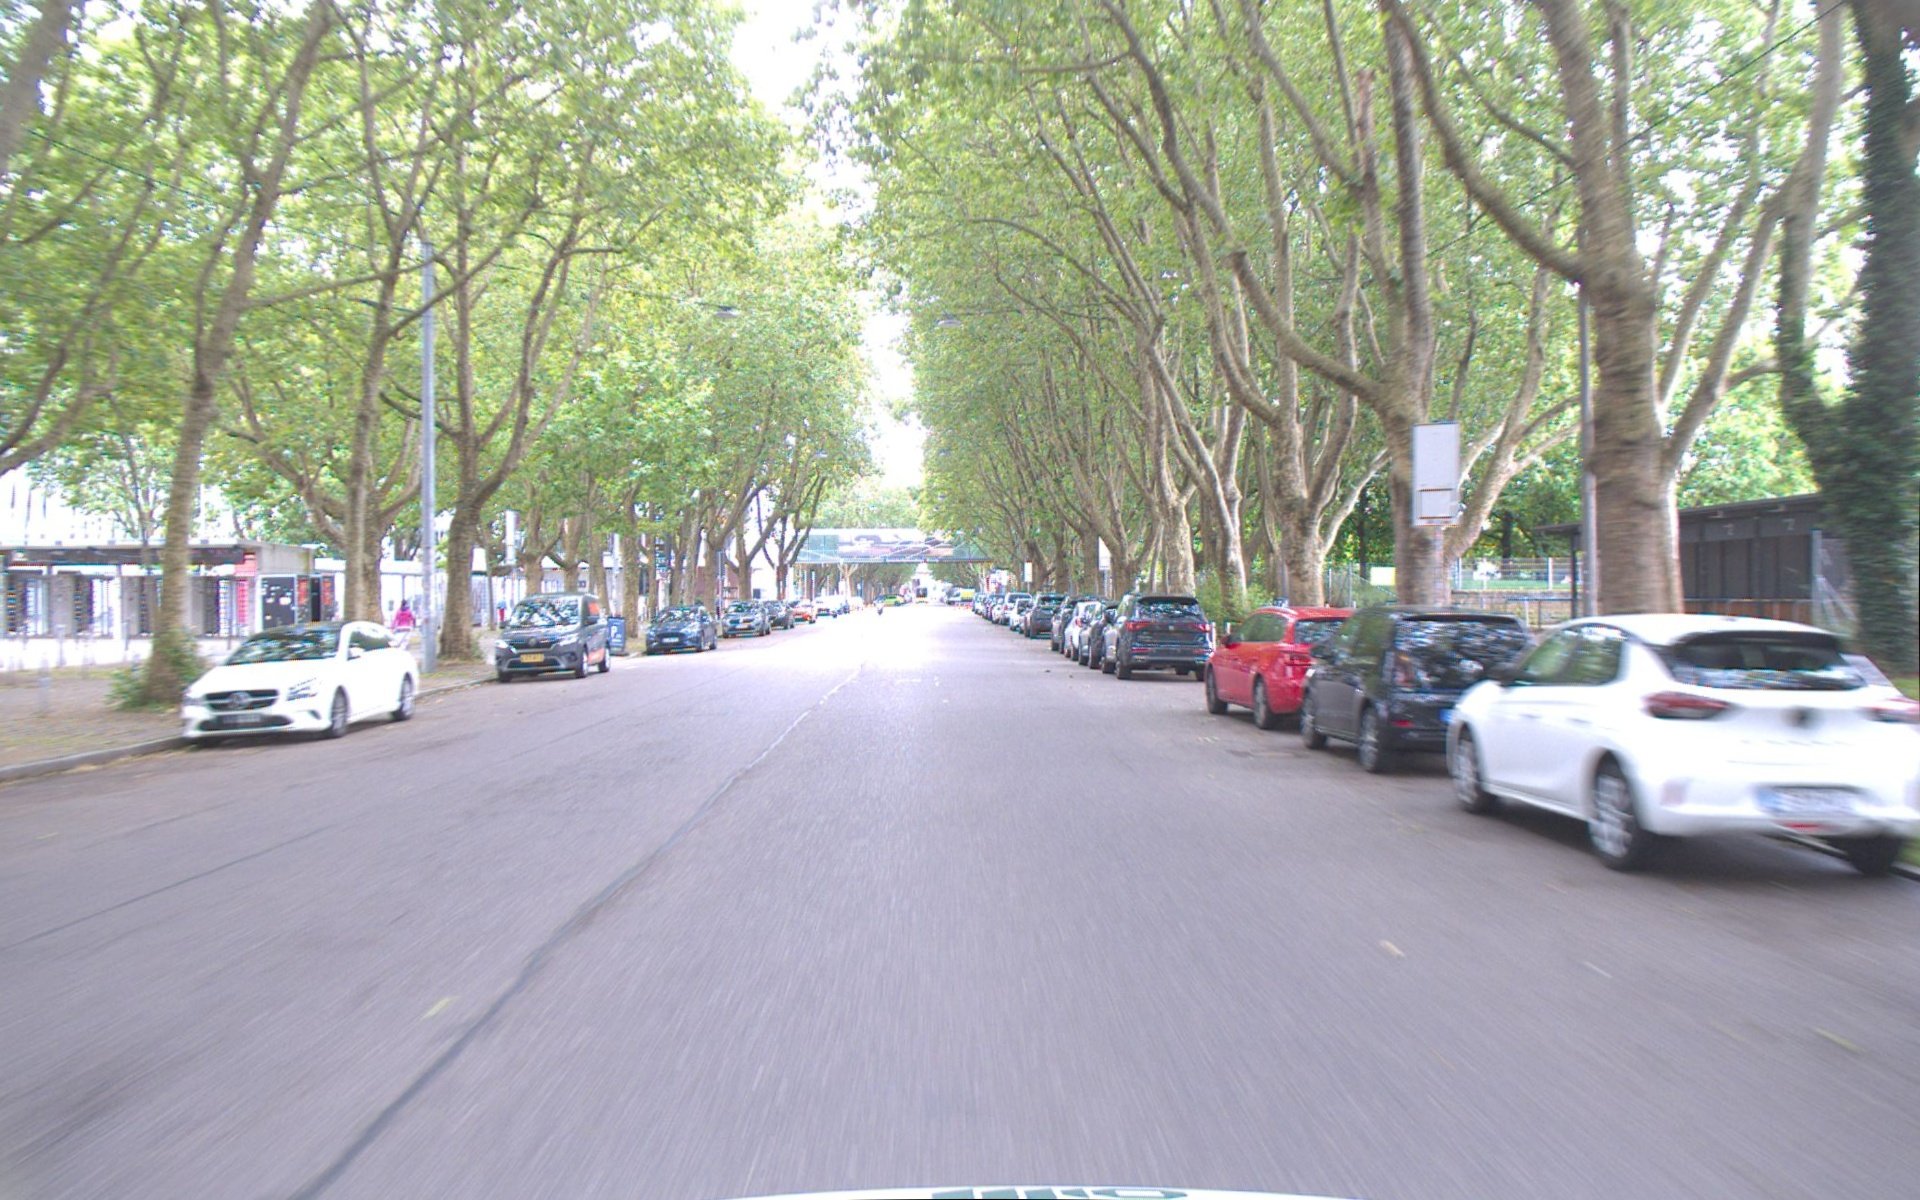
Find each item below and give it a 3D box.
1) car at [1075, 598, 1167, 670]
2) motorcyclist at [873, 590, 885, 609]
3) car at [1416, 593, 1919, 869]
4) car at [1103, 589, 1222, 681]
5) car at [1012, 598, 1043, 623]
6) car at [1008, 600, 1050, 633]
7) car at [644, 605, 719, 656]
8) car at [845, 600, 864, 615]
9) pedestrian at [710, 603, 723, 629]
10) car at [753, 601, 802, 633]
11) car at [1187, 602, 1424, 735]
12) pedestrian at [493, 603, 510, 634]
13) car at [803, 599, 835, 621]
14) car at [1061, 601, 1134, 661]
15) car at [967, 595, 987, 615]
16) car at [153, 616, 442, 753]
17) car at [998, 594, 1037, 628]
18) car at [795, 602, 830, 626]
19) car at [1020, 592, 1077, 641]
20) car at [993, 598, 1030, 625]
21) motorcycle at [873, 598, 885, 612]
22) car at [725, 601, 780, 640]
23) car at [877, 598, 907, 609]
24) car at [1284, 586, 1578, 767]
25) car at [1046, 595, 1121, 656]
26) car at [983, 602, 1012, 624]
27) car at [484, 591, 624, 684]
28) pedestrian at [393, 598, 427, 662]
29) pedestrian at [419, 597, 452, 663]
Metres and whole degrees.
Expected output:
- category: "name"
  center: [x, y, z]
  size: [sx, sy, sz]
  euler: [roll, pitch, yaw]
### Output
- category: "car"
  center: [3.653, 0.740, 38.174]
  size: [1.634, 1.535, 4.353]
  euler: [1, 0, -1]
- category: "motorcyclist"
  center: [-6.300, -0.052, 128.300]
  size: [0.853, 1.506, 1.264]
  euler: [-1, 0, -4]
- category: "car"
  center: [4.527, 0.699, 10.990]
  size: [1.700, 1.463, 4.121]
  euler: [-1, 0, -3]
- category: "car"
  center: [3.920, 0.649, 32.680]
  size: [1.720, 1.648, 4.438]
  euler: [1, 0, -1]
- category: "car"
  center: [4.535, 0.694, 111.143]
  size: [1.766, 1.583, 3.999]
  euler: [-1, 0, -2]
- category: "car"
  center: [3.120, 0.721, 74.990]
  size: [1.673, 1.452, 3.888]
  euler: [1, 0, -1]
- category: "car"
  center: [-8.839, 0.938, 52.817]
  size: [1.689, 1.512, 4.573]
  euler: [-1, 0, -1]
- category: "car"
  center: [-11.671, 0.820, 182.264]
  size: [1.955, 1.629, 3.995]
  euler: [0, 0, -6]
- category: "pedestrian"
  center: [-15.474, 1.031, 105.098]
  size: [0.580, 1.648, 0.792]
  euler: [0, 0, 8]
- category: "car"
  center: [-9.070, 0.837, 82.384]
  size: [1.789, 1.491, 4.628]
  euler: [-2, 0, 1]
- category: "car"
  center: [4.253, 0.786, 21.098]
  size: [1.683, 1.464, 4.624]
  euler: [1, 0, -5]
- category: "pedestrian"
  center: [-23.576, 0.939, 85.058]
  size: [0.654, 1.571, 0.660]
  euler: [0, 0, 0]
- category: "car"
  center: [-10.593, 0.742, 124.747]
  size: [2.031, 1.590, 4.755]
  euler: [-1, 0, -1]
- category: "car"
  center: [3.584, 0.770, 43.478]
  size: [1.583, 1.466, 3.710]
  euler: [1, 0, 0]
- category: "car"
  center: [1.581, 0.482, 158.133]
  size: [1.810, 1.814, 5.210]
  euler: [1, 0, -1]
- category: "car"
  center: [-8.513, 1.015, 21.772]
  size: [1.865, 1.427, 4.750]
  euler: [-4, 0, -1]
- category: "car"
  center: [3.053, 0.583, 88.605]
  size: [1.864, 1.769, 4.505]
  euler: [0, 0, -1]
- category: "car"
  center: [-8.934, 0.846, 100.433]
  size: [1.771, 1.378, 3.999]
  euler: [-1, 0, -1]
- category: "car"
  center: [3.292, 0.596, 62.141]
  size: [1.673, 1.728, 4.628]
  euler: [1, 0, -2]
- category: "car"
  center: [2.894, 0.641, 94.276]
  size: [1.839, 1.452, 4.584]
  euler: [0, 0, -2]
- category: "motorcycle"
  center: [-6.300, 0.365, 128.257]
  size: [0.856, 1.098, 3.050]
  euler: [-1, 0, -4]
- category: "car"
  center: [-8.880, 0.847, 70.967]
  size: [1.840, 1.553, 4.150]
  euler: [-2, 0, -1]
- category: "car"
  center: [-10.656, 0.591, 258.119]
  size: [4.604, 1.612, 1.864]
  euler: [-1, -1, 0]
- category: "car"
  center: [4.460, 0.660, 16.296]
  size: [1.695, 1.496, 4.080]
  euler: [2, 0, 0]
- category: "car"
  center: [3.615, 0.729, 49.185]
  size: [1.742, 1.702, 4.636]
  euler: [0, 0, -2]
- category: "car"
  center: [2.530, 0.838, 112.290]
  size: [1.839, 1.452, 4.479]
  euler: [0, 0, 0]
- category: "car"
  center: [-8.592, 0.755, 35.412]
  size: [1.910, 1.781, 4.637]
  euler: [-2, 0, -2]
- category: "pedestrian"
  center: [-15.267, 0.828, 45.920]
  size: [0.562, 1.772, 0.768]
  euler: [-1, 0, 14]
- category: "pedestrian"
  center: [-14.561, 0.832, 45.921]
  size: [0.564, 1.801, 0.768]
  euler: [-1, 0, 14]
